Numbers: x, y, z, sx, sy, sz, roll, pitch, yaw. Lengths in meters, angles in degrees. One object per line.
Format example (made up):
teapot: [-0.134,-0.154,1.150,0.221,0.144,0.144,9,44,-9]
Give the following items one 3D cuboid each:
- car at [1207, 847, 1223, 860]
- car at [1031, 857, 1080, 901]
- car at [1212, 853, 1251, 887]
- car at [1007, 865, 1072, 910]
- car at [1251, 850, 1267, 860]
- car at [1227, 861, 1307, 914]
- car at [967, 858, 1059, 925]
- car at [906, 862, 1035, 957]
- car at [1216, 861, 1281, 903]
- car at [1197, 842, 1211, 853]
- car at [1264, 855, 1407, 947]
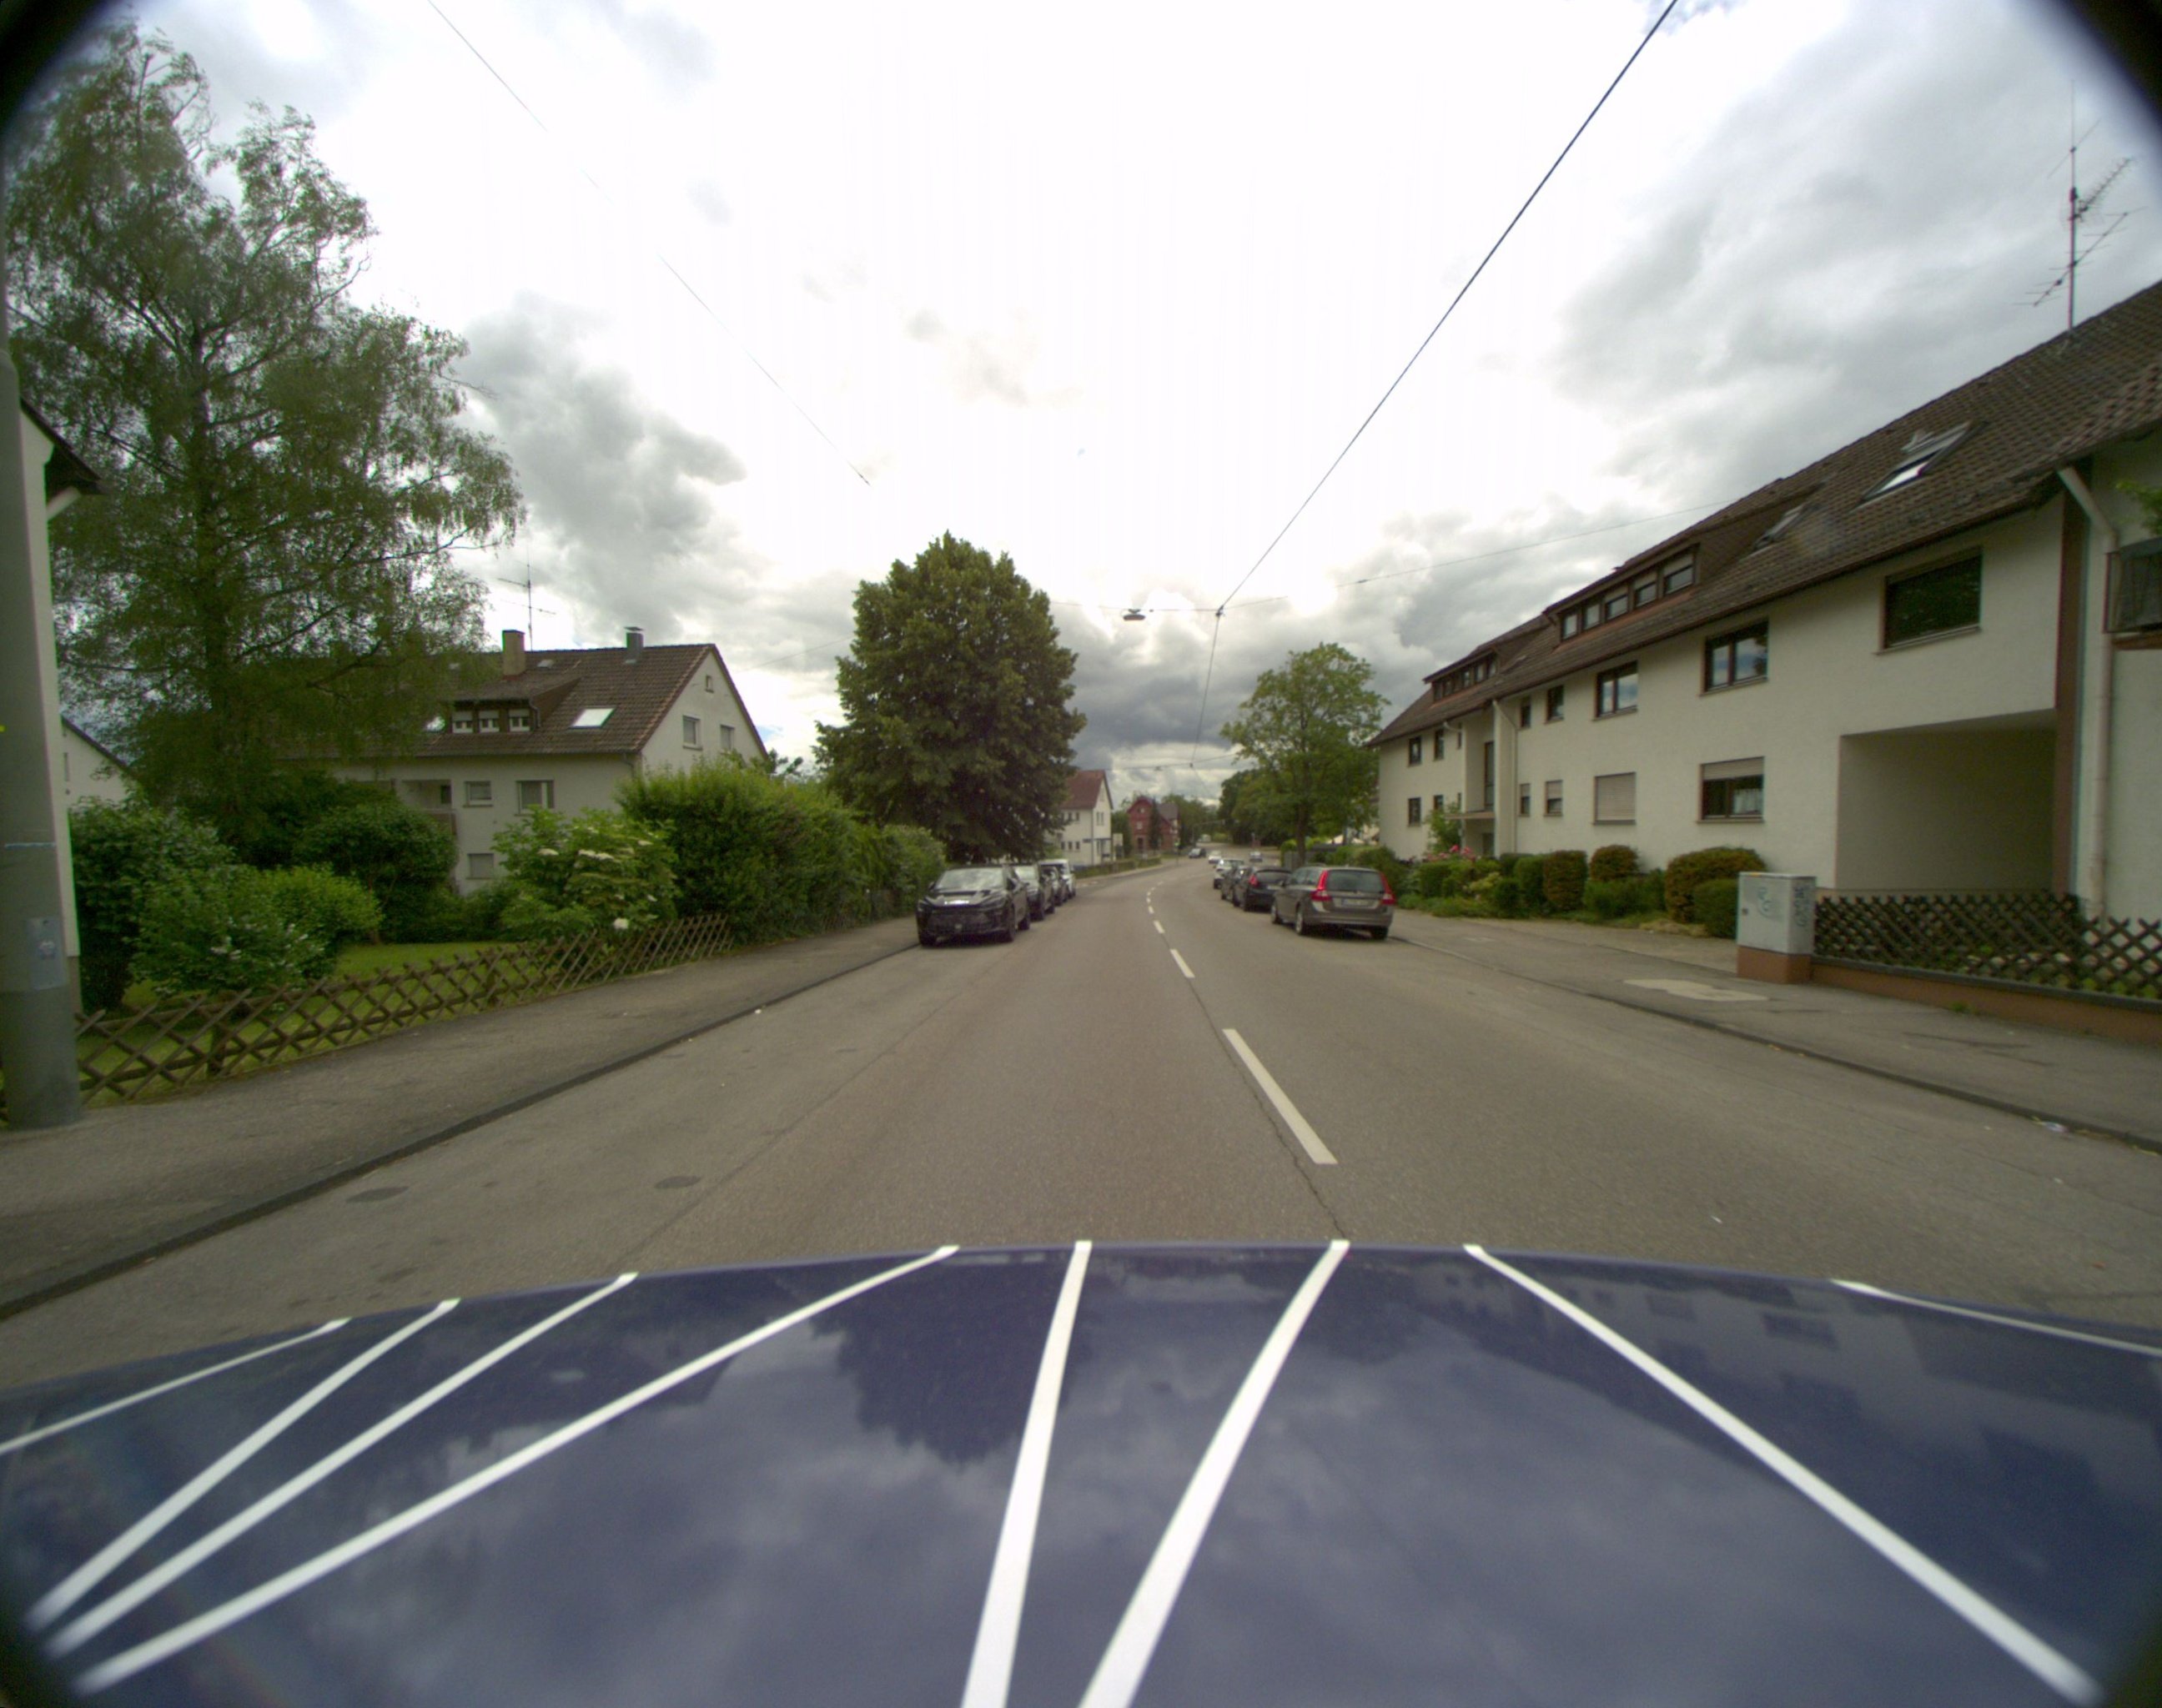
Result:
car: [17.218,-0.070,97.493,1.779,1.510,3.558,-2,2,7]
car: [-1.081,1.073,34.270,1.842,1.763,4.318,-3,0,2]
car: [8.163,0.814,41.485,1.853,1.704,4.577,1,1,9]
car: [-1.489,1.208,29.171,1.998,1.469,4.620,-1,1,3]
car: [24.539,0.119,104.826,1.714,1.346,4.088,2,2,18]
car: [5.906,1.017,24.576,1.766,1.430,4.079,3,0,3]
car: [-1.867,1.008,22.328,1.998,1.606,4.540,-2,1,3]
car: [-2.186,1.055,16.342,1.815,1.606,4.540,-2,1,3]
car: [6.462,1.036,29.709,1.766,1.430,4.079,1,0,3]
car: [19.831,-1.118,122.776,1.924,1.511,4.001,1,5,13]
car: [5.589,0.926,17.369,1.851,1.670,4.787,3,1,3]
